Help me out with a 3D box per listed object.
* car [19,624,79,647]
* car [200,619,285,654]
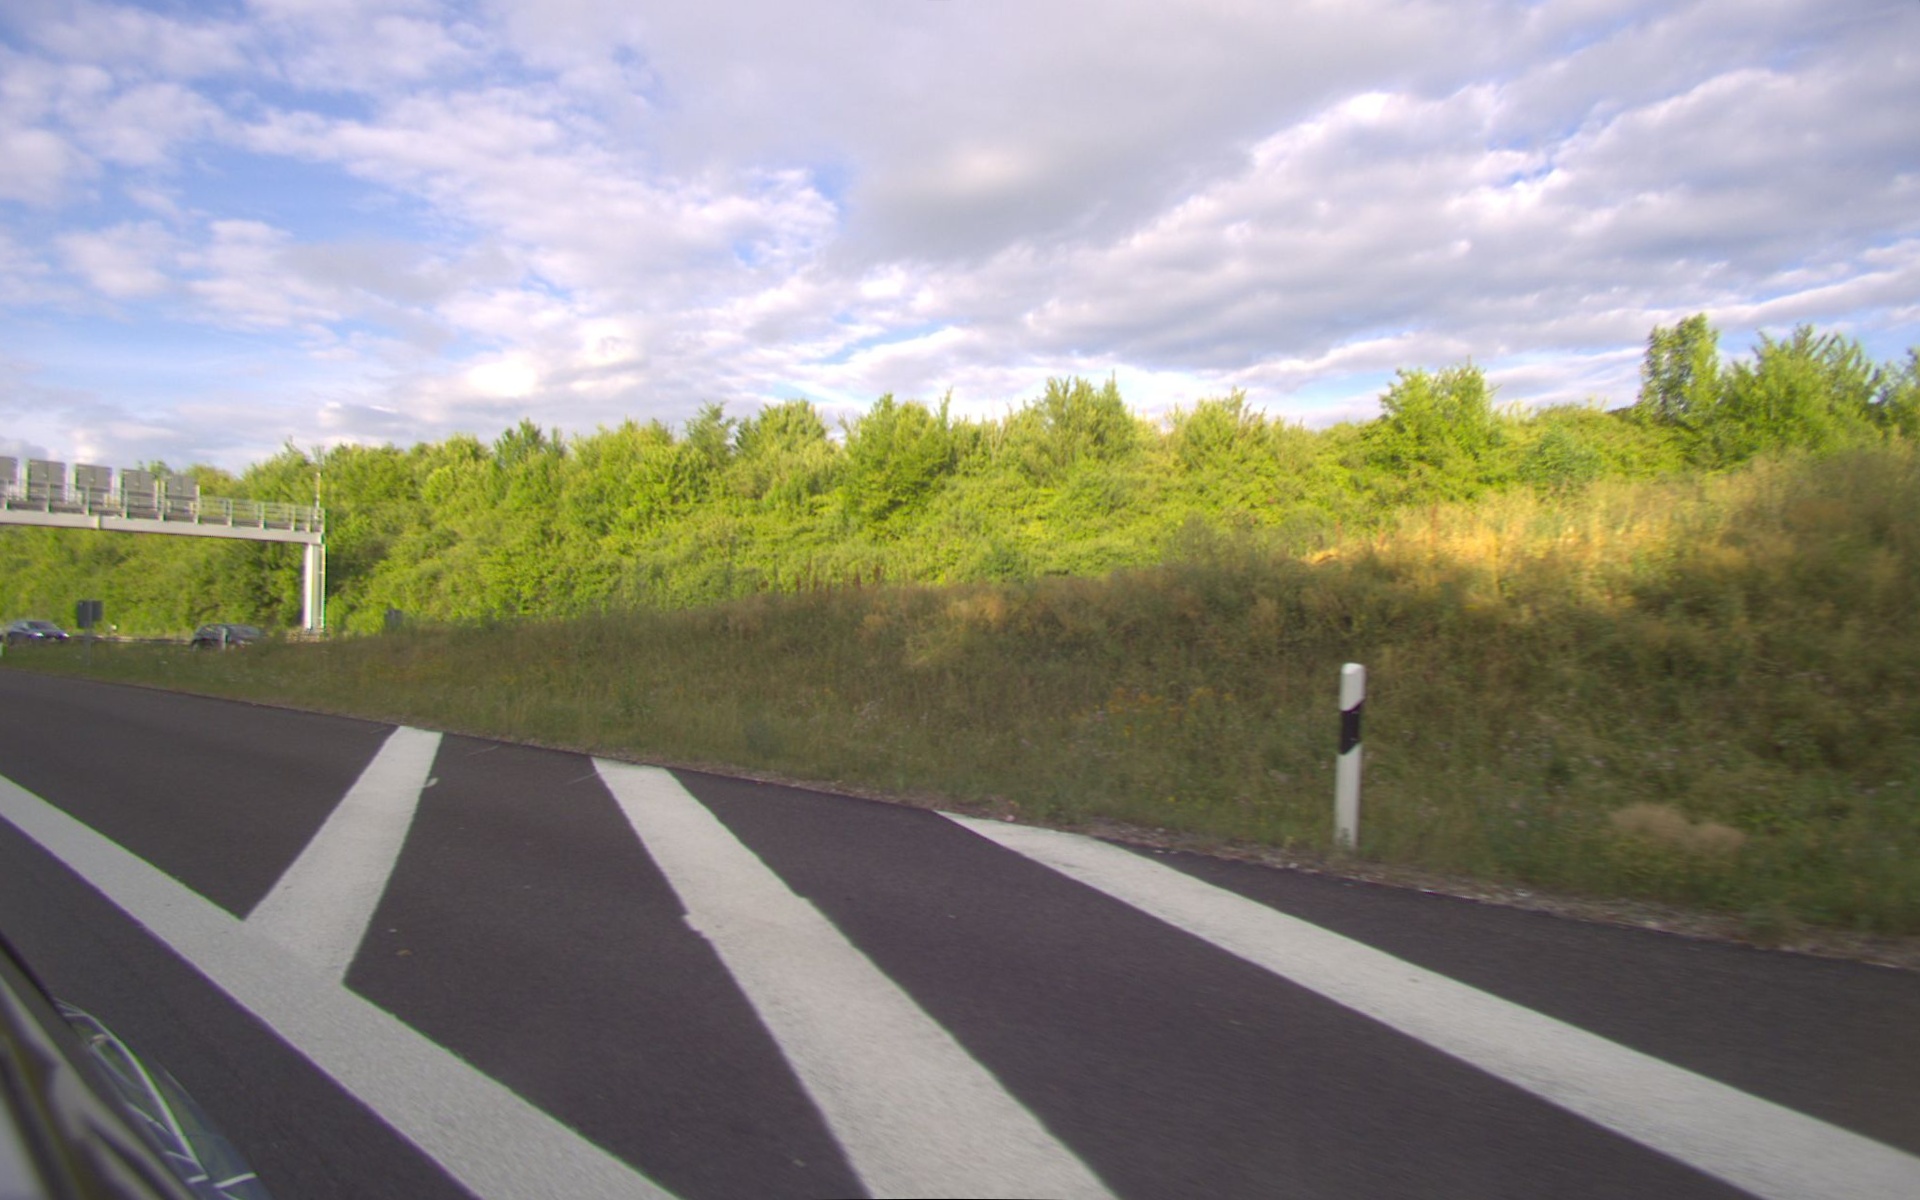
[{"bbox_3d":[-53.701,2.068,59.662,3.992,1.301,1.859,0,-1,36],"label":"car"},{"bbox_3d":[-30.528,1.514,43.030,3.992,1.417,1.742,0,-1,36],"label":"car"}]
